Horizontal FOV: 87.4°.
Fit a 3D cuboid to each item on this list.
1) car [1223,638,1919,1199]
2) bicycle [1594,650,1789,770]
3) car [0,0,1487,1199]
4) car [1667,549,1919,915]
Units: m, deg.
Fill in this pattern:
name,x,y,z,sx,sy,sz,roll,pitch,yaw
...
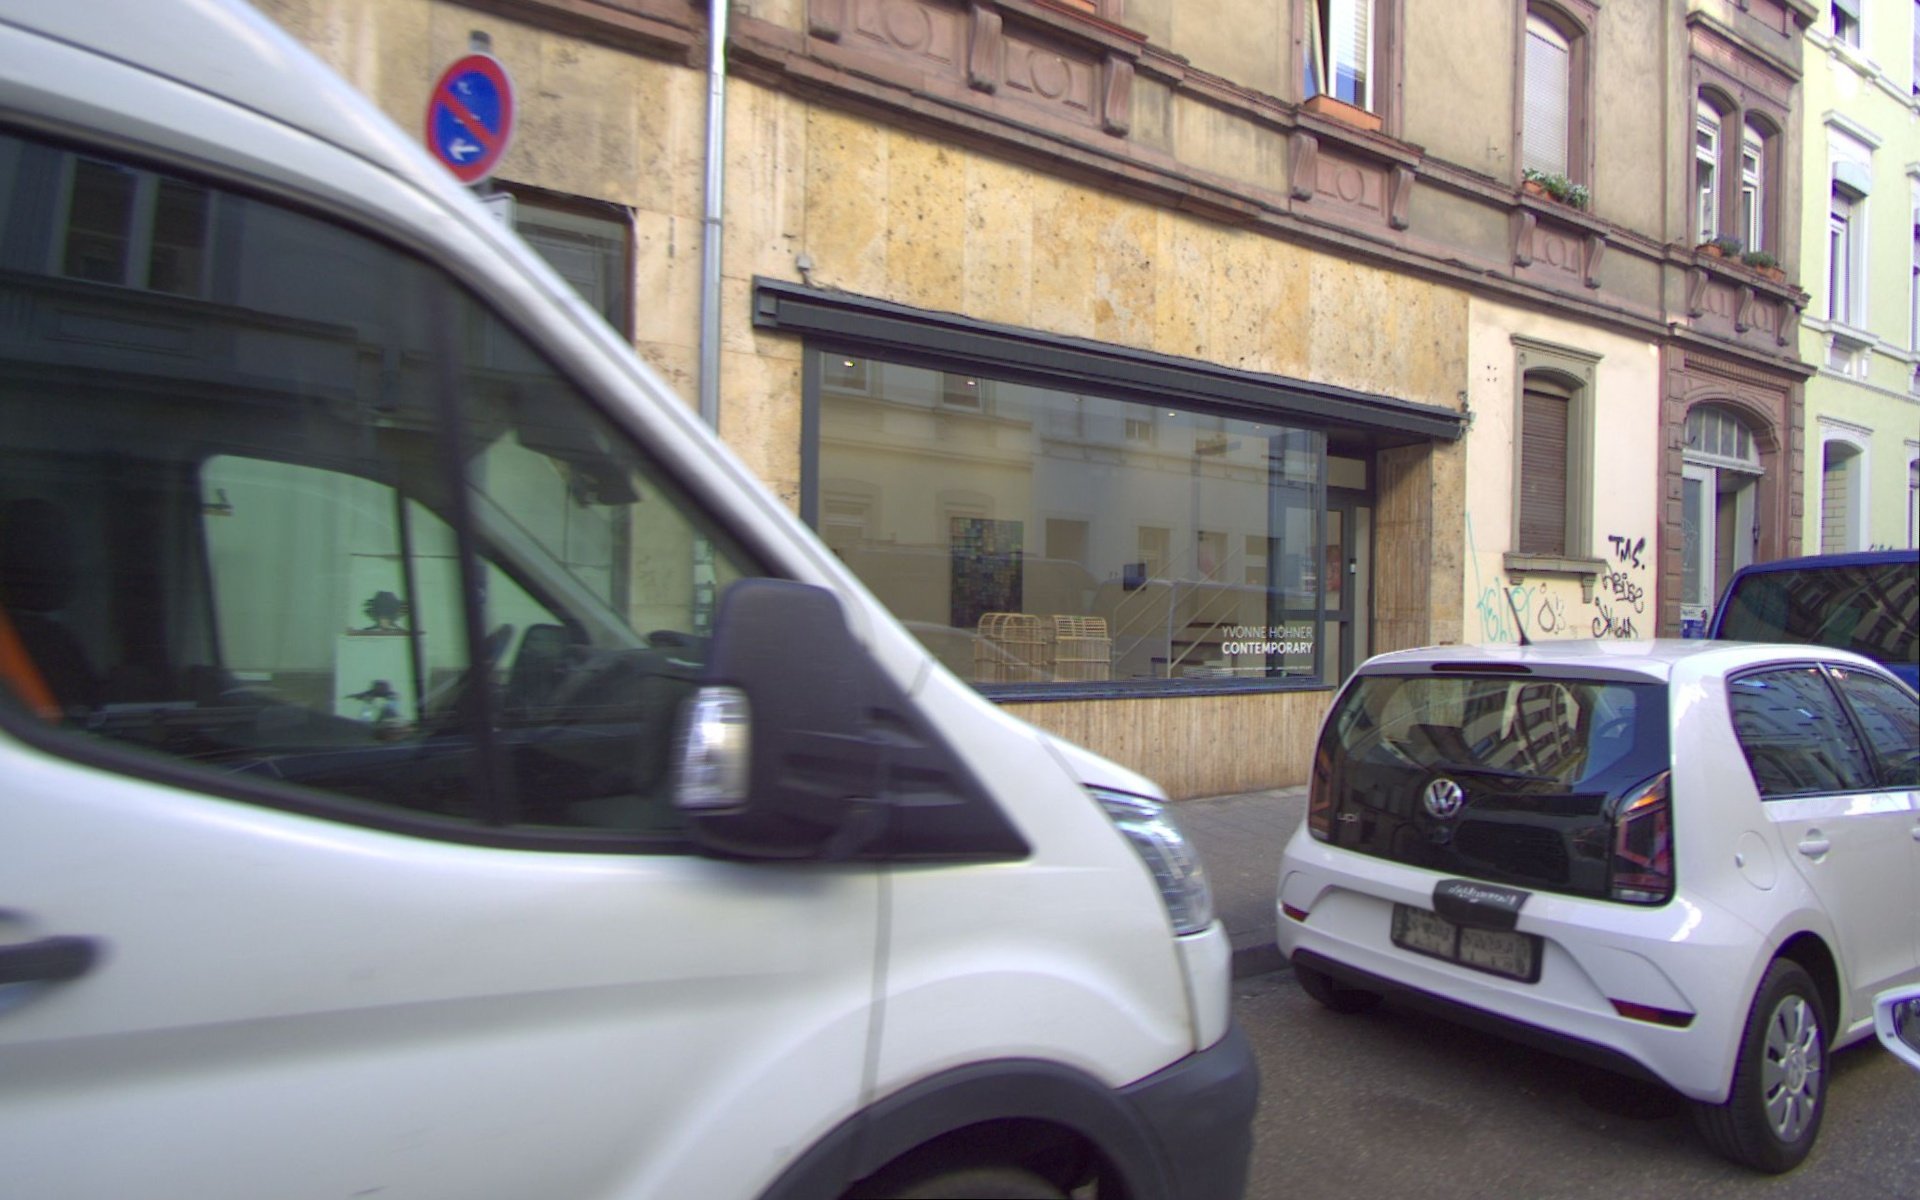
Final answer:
name,x,y,z,sx,sy,sz,roll,pitch,yaw
car,3.053,0.903,4.186,3.796,1.466,1.637,1,-2,-31
bicycle,7.374,1.060,10.110,2.004,1.035,0.751,1,3,-29
car,-2.039,0.267,1.350,5.854,2.484,2.157,1,-2,-31
car,6.888,0.746,6.640,4.558,1.916,1.820,1,-4,-30
